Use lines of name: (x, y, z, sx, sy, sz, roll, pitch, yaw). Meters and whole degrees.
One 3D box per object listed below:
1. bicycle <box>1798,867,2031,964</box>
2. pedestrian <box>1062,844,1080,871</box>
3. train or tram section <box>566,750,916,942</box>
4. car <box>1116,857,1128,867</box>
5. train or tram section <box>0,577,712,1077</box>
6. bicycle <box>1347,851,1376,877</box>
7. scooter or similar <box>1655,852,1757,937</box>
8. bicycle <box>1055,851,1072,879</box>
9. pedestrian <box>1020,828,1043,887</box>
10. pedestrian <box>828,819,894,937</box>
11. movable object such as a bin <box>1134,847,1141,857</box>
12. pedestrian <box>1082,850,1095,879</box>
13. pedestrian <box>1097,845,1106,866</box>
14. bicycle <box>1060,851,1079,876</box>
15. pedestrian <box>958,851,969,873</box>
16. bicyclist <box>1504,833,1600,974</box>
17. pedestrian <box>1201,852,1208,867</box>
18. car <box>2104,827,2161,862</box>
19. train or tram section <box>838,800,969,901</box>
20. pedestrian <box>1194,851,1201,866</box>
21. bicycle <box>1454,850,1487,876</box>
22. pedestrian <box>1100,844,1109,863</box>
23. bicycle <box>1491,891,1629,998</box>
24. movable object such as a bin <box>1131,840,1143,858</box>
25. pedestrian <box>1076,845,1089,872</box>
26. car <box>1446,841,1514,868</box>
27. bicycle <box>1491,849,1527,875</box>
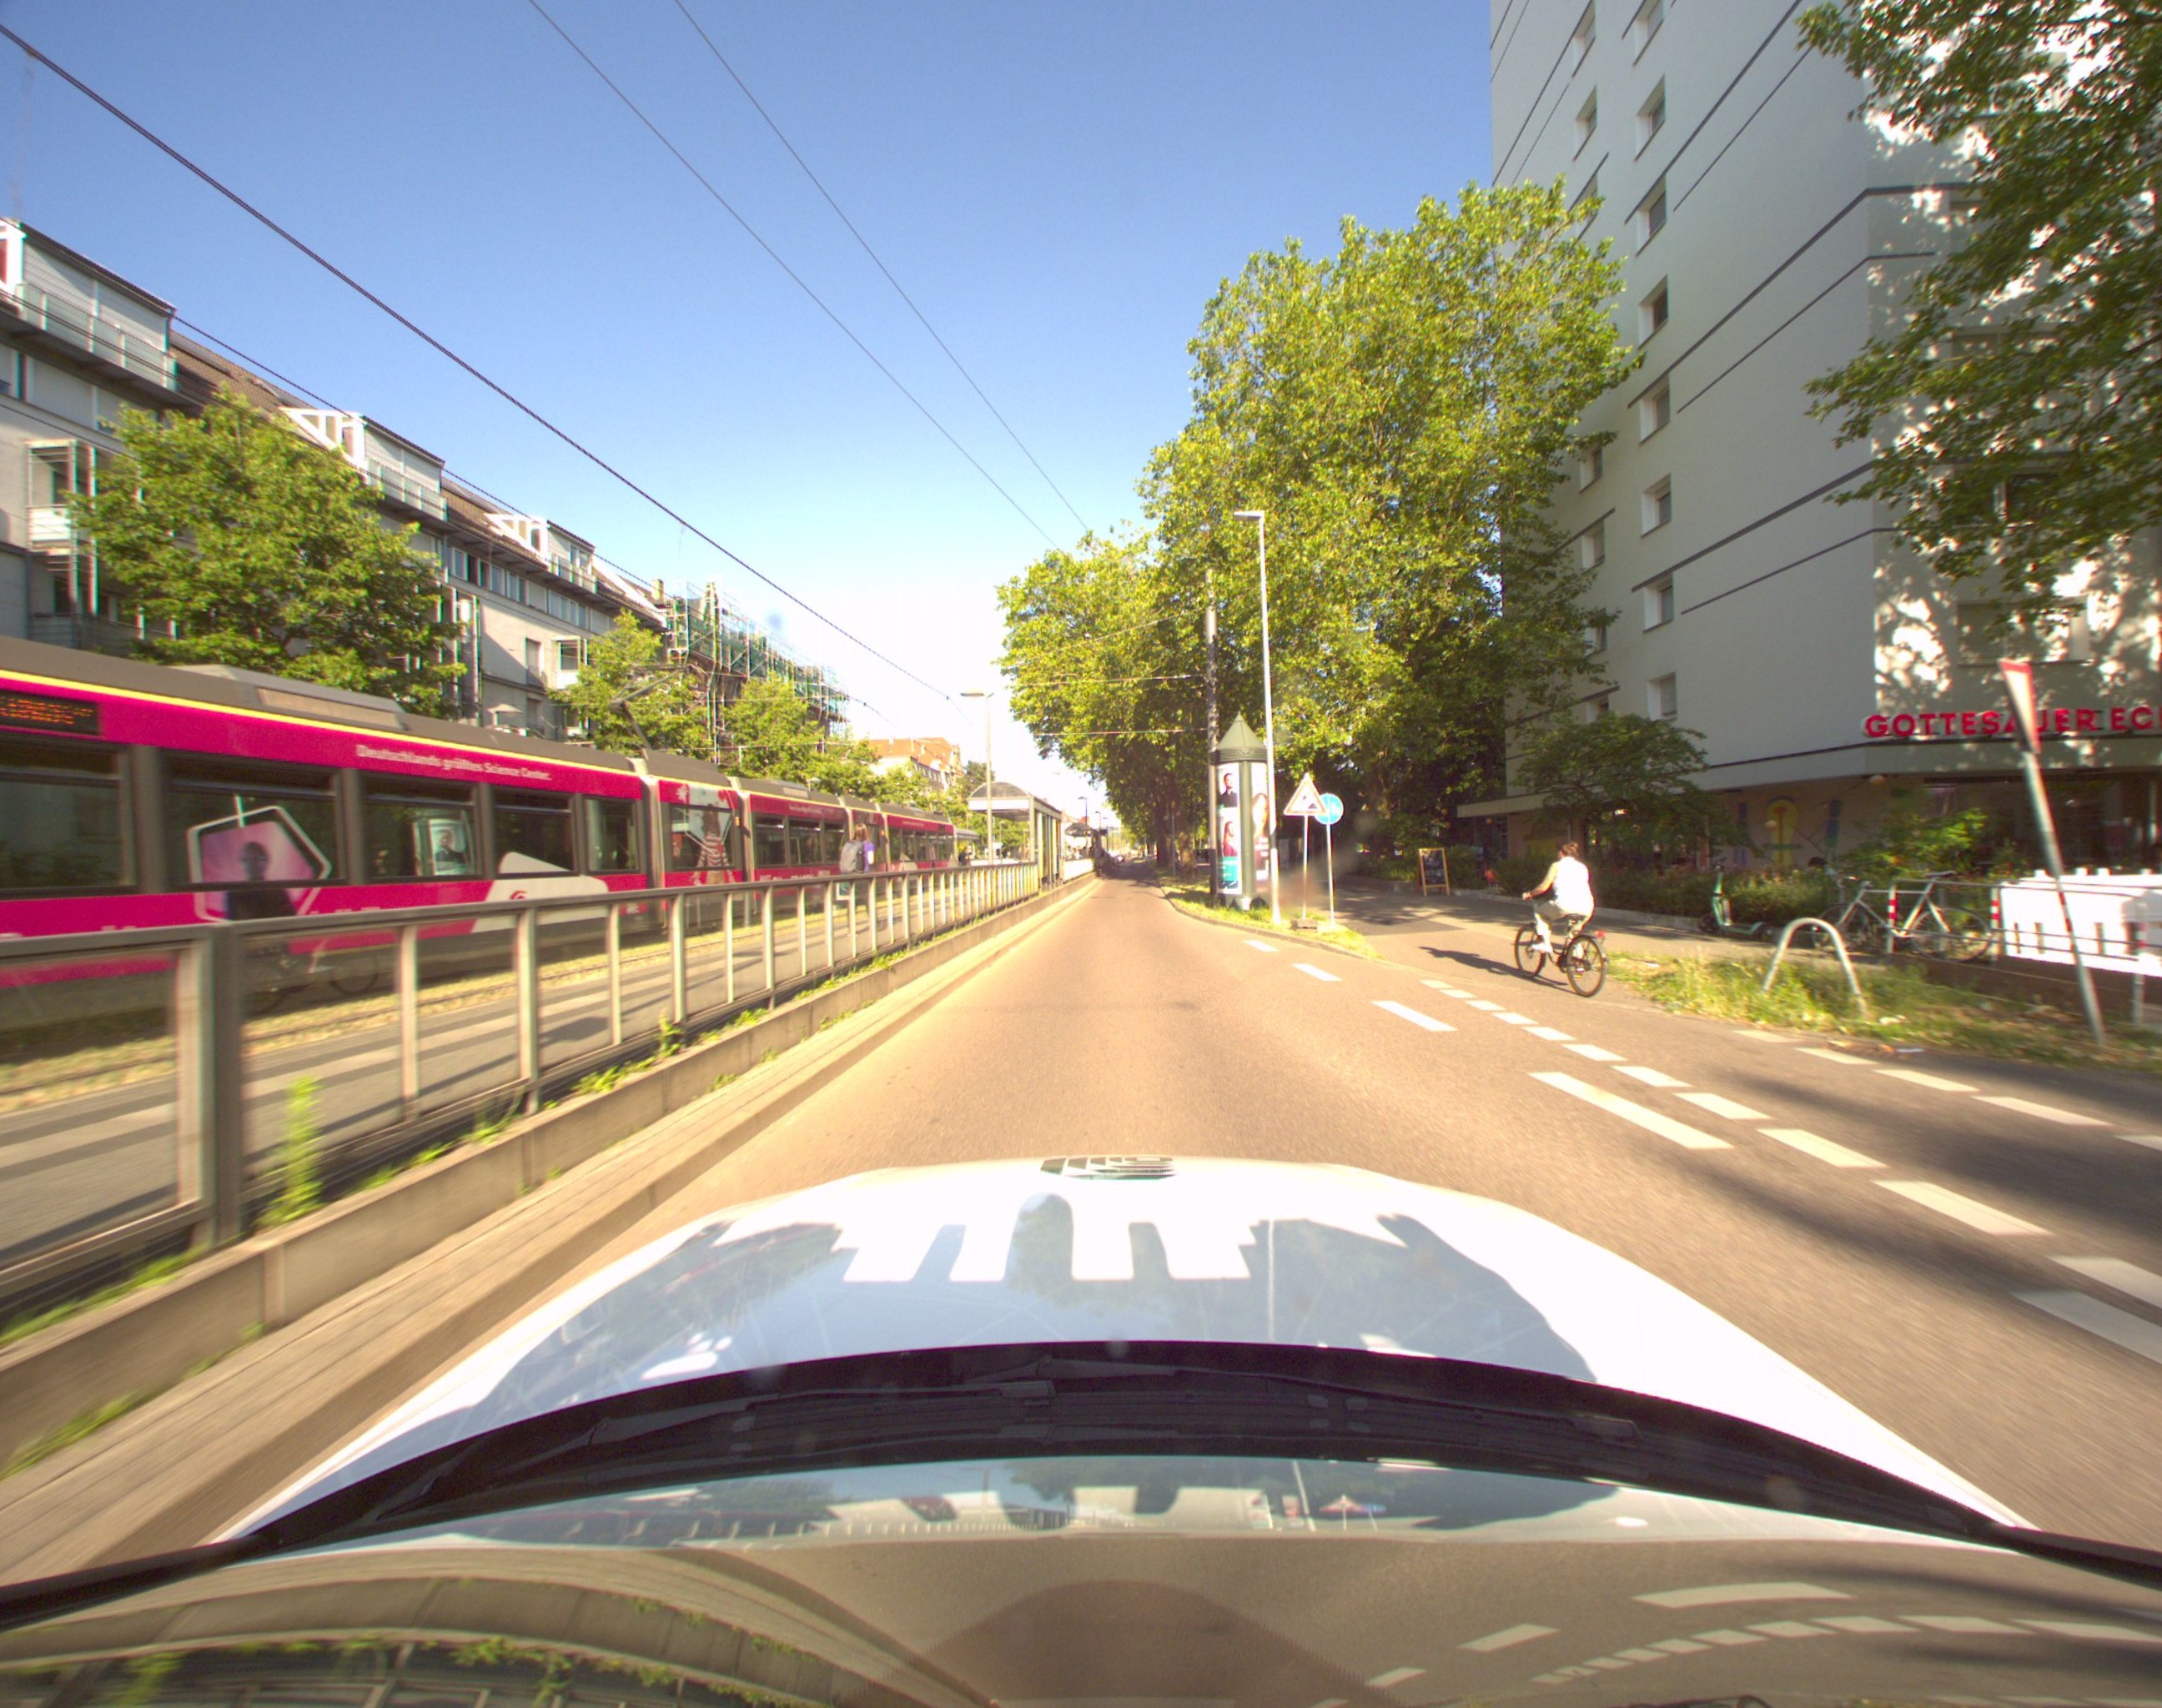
bicycle: (10.274, 0.708, 10.131, 0.606, 1.026, 1.935, -2, 1, -28)
pedestrian: (-0.649, 0.235, 52.911, 0.913, 1.722, 0.625, 1, 0, -30)
train or tram section: (-8.160, -0.149, 23.230, 2.857, 3.685, 14.576, -1, 0, 4)
car: (7.213, 1.351, 143.380, 1.985, 1.684, 4.004, 1, 0, 4)
train or tram section: (-9.165, -0.168, 8.673, 2.857, 3.675, 14.576, -1, 0, 4)
bicycle: (13.117, 0.451, 38.127, 0.785, 1.177, 1.822, 1, 0, 4)
scooter or similar: (9.810, 0.609, 12.829, 0.558, 1.257, 1.290, -2, -1, 0)
bicycle: (-0.715, 0.446, 33.568, 0.511, 1.133, 2.105, 1, 0, 4)
pedestrian: (-1.622, 0.106, 26.867, 0.666, 1.902, 0.825, 1, 0, 3)
pedestrian: (-3.128, 0.330, 11.642, 0.627, 1.609, 0.983, 1, 0, 2)
movable object such as a bin: (17.926, -0.541, 256.609, 1.960, 3.013, 4.800, -4, 0, 3)
pedestrian: (0.459, 0.662, 50.173, 0.761, 1.758, 0.695, 1, 0, 3)
pedestrian: (1.724, 0.131, 67.507, 0.676, 1.690, 0.895, 1, 0, 4)
bicycle: (-0.545, 0.449, 39.548, 0.734, 1.133, 2.033, 1, 0, 4)
pedestrian: (-9.004, 0.585, 62.476, 0.676, 1.690, 0.655, 1, 0, 1)
bicyclist: (5.438, 0.552, 9.446, 0.600, 1.551, 0.860, -1, 0, 3)
pedestrian: (13.987, 0.586, 92.366, 0.647, 1.656, 0.784, -3, 0, 3)
car: (45.818, -0.391, 33.757, 2.005, 1.453, 3.964, 1, 0, -28)
train or tram section: (-7.308, -0.118, 35.326, 2.857, 3.685, 9.694, -1, 0, 4)
pedestrian: (13.236, 0.479, 92.437, 0.625, 1.656, 0.740, -3, 0, 3)
bicycle: (18.100, 0.429, 37.869, 0.785, 1.177, 1.822, 1, 0, 4)
pedestrian: (2.168, -0.026, 74.528, 0.753, 1.690, 0.679, 1, 0, 3)
bicycle: (5.452, 0.984, 9.395, 0.600, 1.026, 1.768, -1, 0, 3)
movable object such as a bin: (16.006, -1.401, 234.504, 3.074, 5.088, 8.899, -4, 0, 3)
pedestrian: (0.107, 0.257, 46.822, 0.675, 1.562, 0.852, 1, 0, 3)
car: (22.911, 0.021, 46.953, 1.987, 1.453, 4.000, 1, 0, 0)
bicycle: (19.753, 0.374, 37.610, 0.785, 1.177, 1.822, 1, 0, 4)
